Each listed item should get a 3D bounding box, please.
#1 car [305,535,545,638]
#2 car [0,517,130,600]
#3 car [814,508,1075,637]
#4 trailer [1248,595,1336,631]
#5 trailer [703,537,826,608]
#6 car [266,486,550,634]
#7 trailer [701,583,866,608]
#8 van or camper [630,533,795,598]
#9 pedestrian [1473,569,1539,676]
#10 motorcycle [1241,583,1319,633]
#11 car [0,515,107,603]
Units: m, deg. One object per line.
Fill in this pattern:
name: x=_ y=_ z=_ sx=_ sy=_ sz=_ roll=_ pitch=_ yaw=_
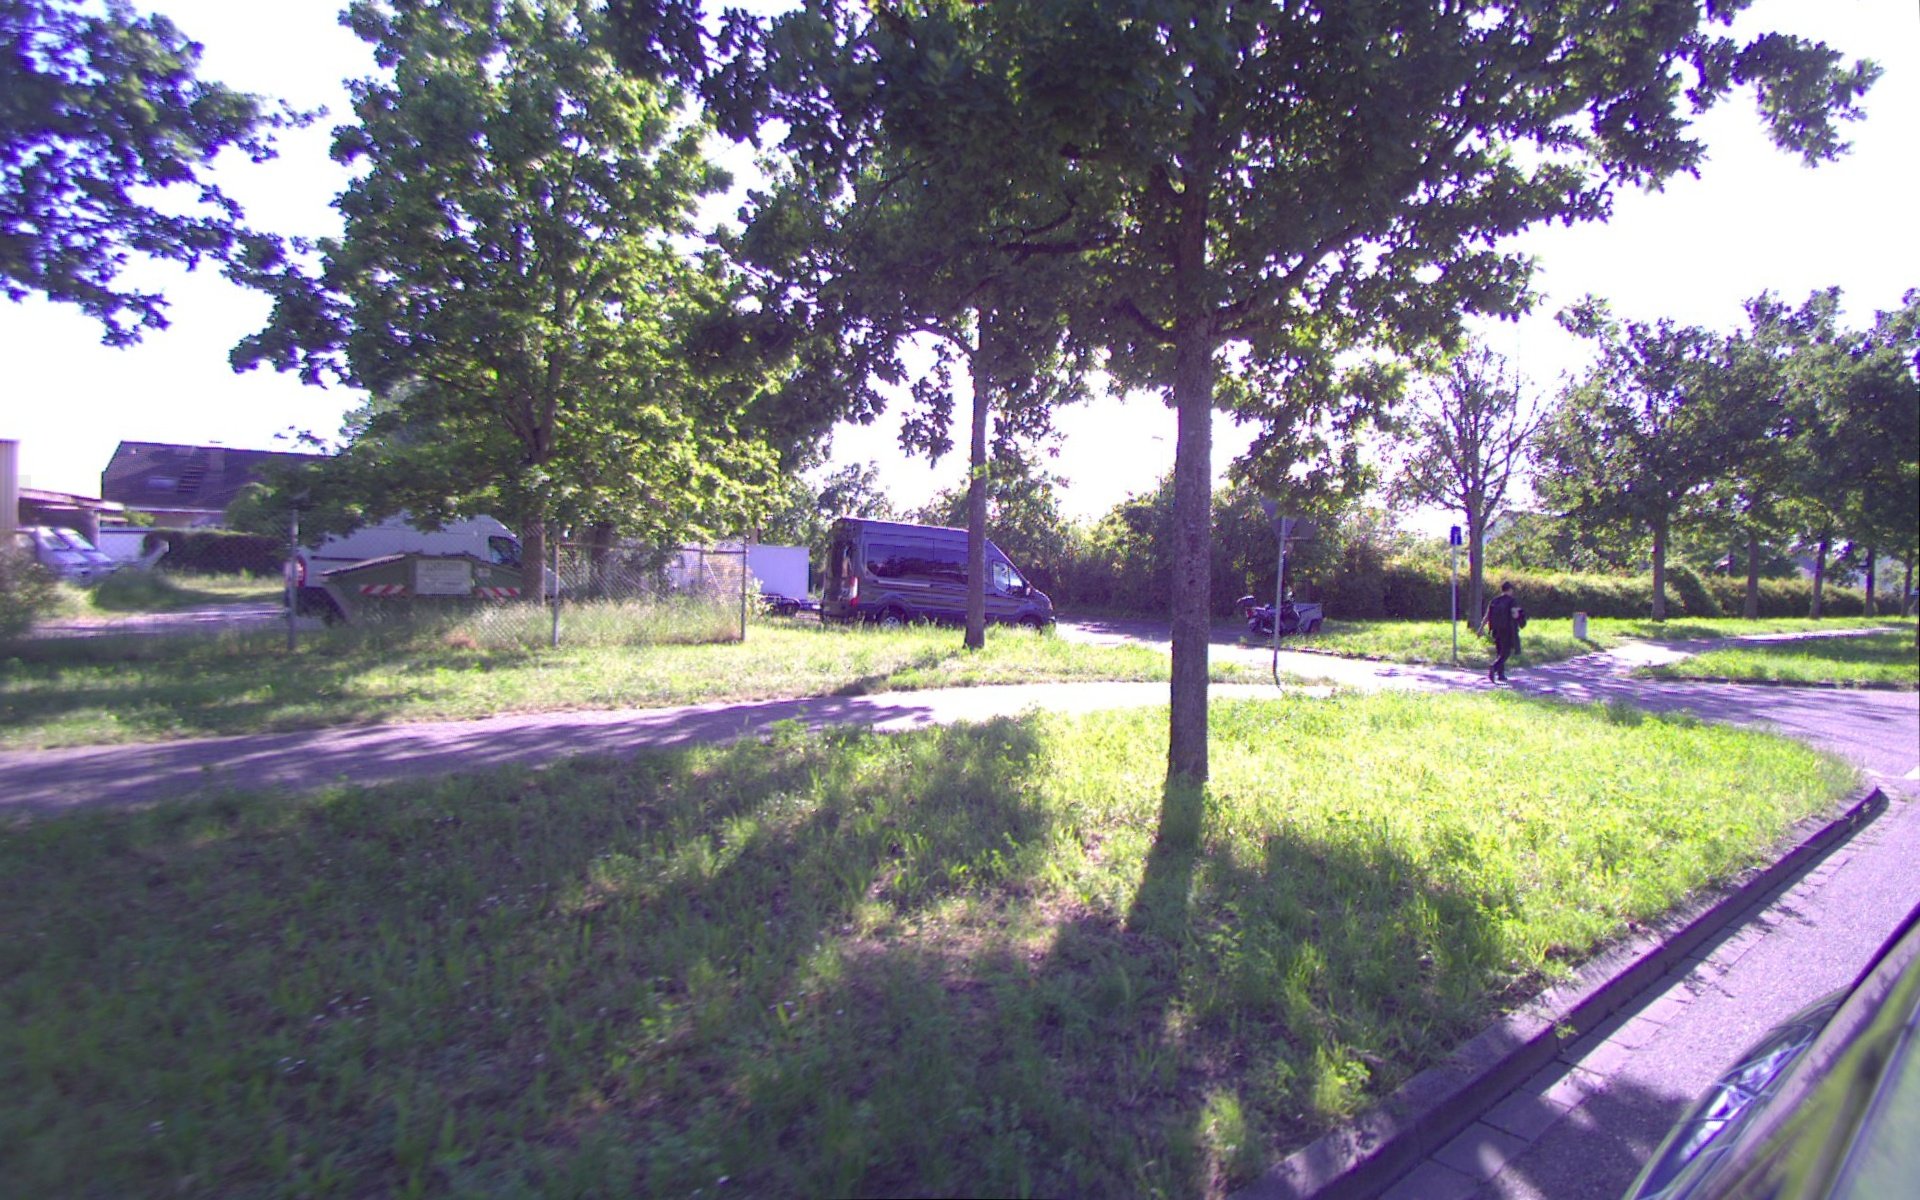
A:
car: x=-9.751 y=-0.254 z=18.515 sx=3.533 sy=1.685 sz=2.010 roll=0 pitch=2 yaw=-40
car: x=-26.216 y=-1.182 z=27.746 sx=4.910 sy=2.088 sz=2.094 roll=4 pitch=-2 yaw=-28
car: x=-0.309 y=-0.559 z=24.350 sx=5.849 sy=2.599 sz=2.094 roll=4 pitch=-2 yaw=-28
trailer: x=10.046 y=0.368 z=30.633 sx=2.013 sy=0.878 sz=1.586 roll=-4 pitch=4 yaw=-28
trailer: x=-6.857 y=-0.941 z=35.494 sx=3.712 sy=2.336 sz=2.200 roll=1 pitch=2 yaw=-28
car: x=-11.213 y=-0.760 z=20.732 sx=4.765 sy=2.676 sz=2.165 roll=0 pitch=2 yaw=-40
trailer: x=-5.625 y=-0.135 z=32.331 sx=4.724 sy=0.659 sz=2.239 roll=1 pitch=2 yaw=-28
van or camper: x=-10.750 y=-1.472 z=44.170 sx=6.640 sy=2.606 sz=2.191 roll=1 pitch=2 yaw=-28
pedestrian: x=9.683 y=0.375 z=17.954 sx=0.852 sy=1.835 sz=0.727 roll=0 pitch=2 yaw=-41
motorcycle: x=9.105 y=0.204 z=28.763 sx=2.359 sy=1.246 sz=0.666 roll=-4 pitch=4 yaw=-29
car: x=-25.076 y=-1.123 z=25.579 sx=4.910 sy=2.088 sz=2.094 roll=4 pitch=-2 yaw=-28
